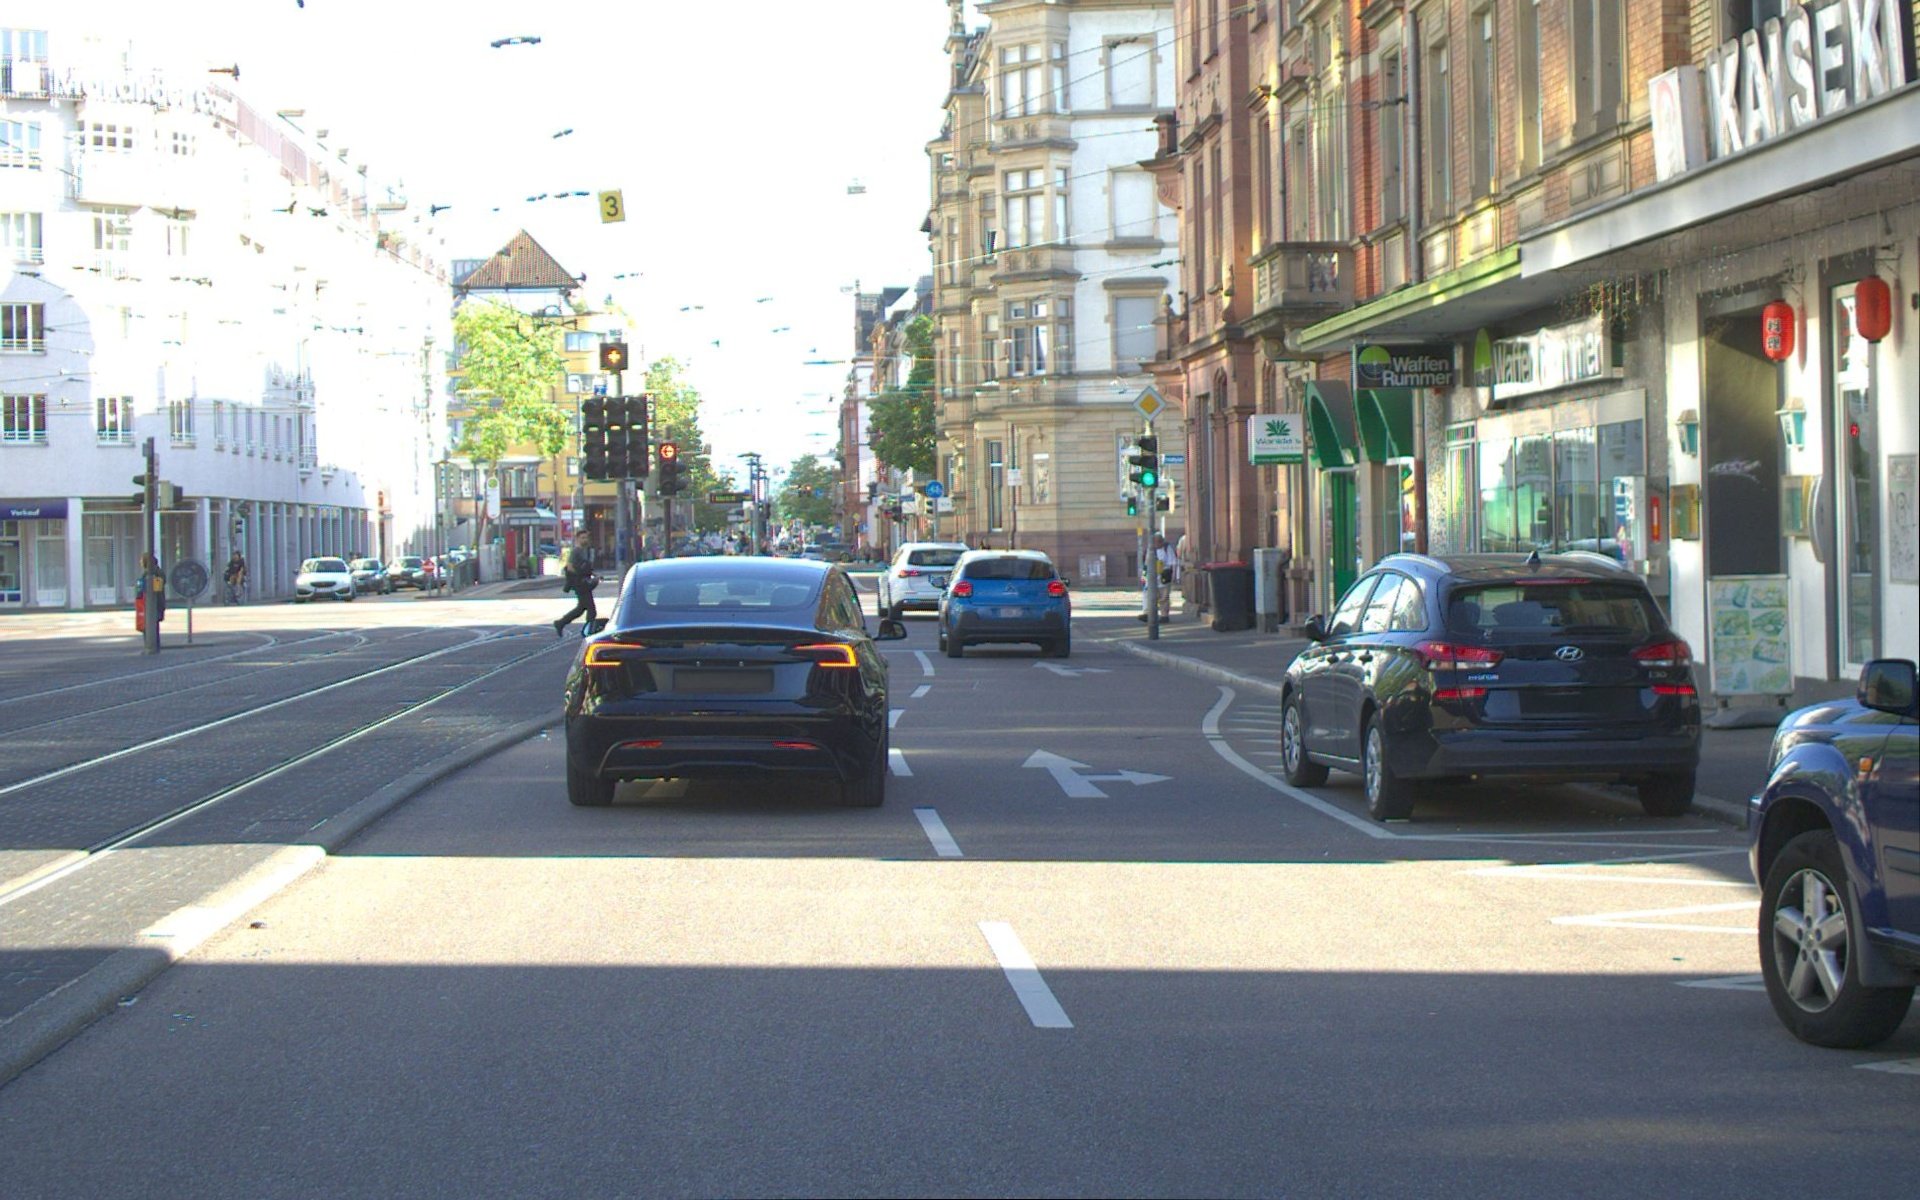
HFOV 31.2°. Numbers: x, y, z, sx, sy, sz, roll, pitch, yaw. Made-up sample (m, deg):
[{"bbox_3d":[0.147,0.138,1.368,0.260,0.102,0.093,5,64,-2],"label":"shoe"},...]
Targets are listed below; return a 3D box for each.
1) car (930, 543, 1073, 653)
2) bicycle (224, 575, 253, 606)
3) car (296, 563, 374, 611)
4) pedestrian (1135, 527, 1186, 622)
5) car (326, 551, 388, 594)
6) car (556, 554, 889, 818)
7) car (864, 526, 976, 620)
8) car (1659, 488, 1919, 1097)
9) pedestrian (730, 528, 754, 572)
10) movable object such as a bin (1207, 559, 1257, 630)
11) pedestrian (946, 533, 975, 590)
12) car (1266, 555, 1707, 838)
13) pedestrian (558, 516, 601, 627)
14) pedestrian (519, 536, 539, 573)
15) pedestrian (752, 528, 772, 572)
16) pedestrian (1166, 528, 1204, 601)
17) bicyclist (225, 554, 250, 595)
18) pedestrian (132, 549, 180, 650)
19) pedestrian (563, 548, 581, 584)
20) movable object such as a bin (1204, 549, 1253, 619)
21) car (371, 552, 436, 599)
[{"bbox_3d":[0.539,-0.055,48.202,1.781,1.446,3.654,1,1,-3],"label":"car"},{"bbox_3d":[-23.096,-0.296,110.047,0.594,0.969,1.818,-1,0,-2],"label":"bicycle"},{"bbox_3d":[-19.995,-0.431,110.097,1.993,1.446,4.503,-1,1,-4],"label":"car"},{"bbox_3d":[3.441,-0.446,59.024,0.681,1.602,0.731,-1,1,-12],"label":"pedestrian"},{"bbox_3d":[-23.468,-1.061,133.895,1.993,1.590,4.001,-1,0,-5],"label":"car"},{"bbox_3d":[-1.422,0.449,21.000,1.810,1.419,4.154,1,1,-3],"label":"car"},{"bbox_3d":[-0.808,-0.499,66.287,1.993,1.737,4.000,1,0,-3],"label":"car"},{"bbox_3d":[3.593,0.555,9.434,1.689,1.707,4.617,1,1,-10],"label":"car"},{"bbox_3d":[-8.813,-2.011,139.085,0.718,1.771,0.564,0,1,33],"label":"pedestrian"},{"bbox_3d":[4.289,-0.086,54.243,0.663,1.069,0.591,-4,1,0],"label":"movable object such as a bin"},{"bbox_3d":[0.011,-1.200,106.488,0.779,1.743,1.093,-1,3,-5],"label":"pedestrian"},{"bbox_3d":[2.977,0.484,20.325,1.690,1.446,4.360,1,1,-3],"label":"car"},{"bbox_3d":[-6.152,-0.460,55.663,0.558,1.757,0.895,-3,1,-3],"label":"pedestrian"},{"bbox_3d":[-17.759,-1.867,141.699,0.731,1.522,0.743,0,2,-4],"label":"pedestrian"},{"bbox_3d":[-7.719,-1.952,134.265,0.636,1.692,0.933,1,0,5],"label":"pedestrian"},{"bbox_3d":[5.143,-0.801,78.653,0.701,1.649,0.631,-1,0,19],"label":"pedestrian"},{"bbox_3d":[-23.104,-0.813,109.949,0.588,1.281,0.927,-1,0,-2],"label":"bicyclist"},{"bbox_3d":[-12.371,-0.010,52.891,0.500,1.512,0.859,-3,1,-3],"label":"pedestrian"},{"bbox_3d":[-17.211,-1.510,152.624,0.731,1.553,0.743,0,2,-4],"label":"pedestrian"},{"bbox_3d":[4.275,-0.261,54.837,0.663,1.069,0.545,-4,1,0],"label":"movable object such as a bin"},{"bbox_3d":[-23.296,-1.030,144.054,2.227,1.904,4.610,-1,1,-4],"label":"car"}]
